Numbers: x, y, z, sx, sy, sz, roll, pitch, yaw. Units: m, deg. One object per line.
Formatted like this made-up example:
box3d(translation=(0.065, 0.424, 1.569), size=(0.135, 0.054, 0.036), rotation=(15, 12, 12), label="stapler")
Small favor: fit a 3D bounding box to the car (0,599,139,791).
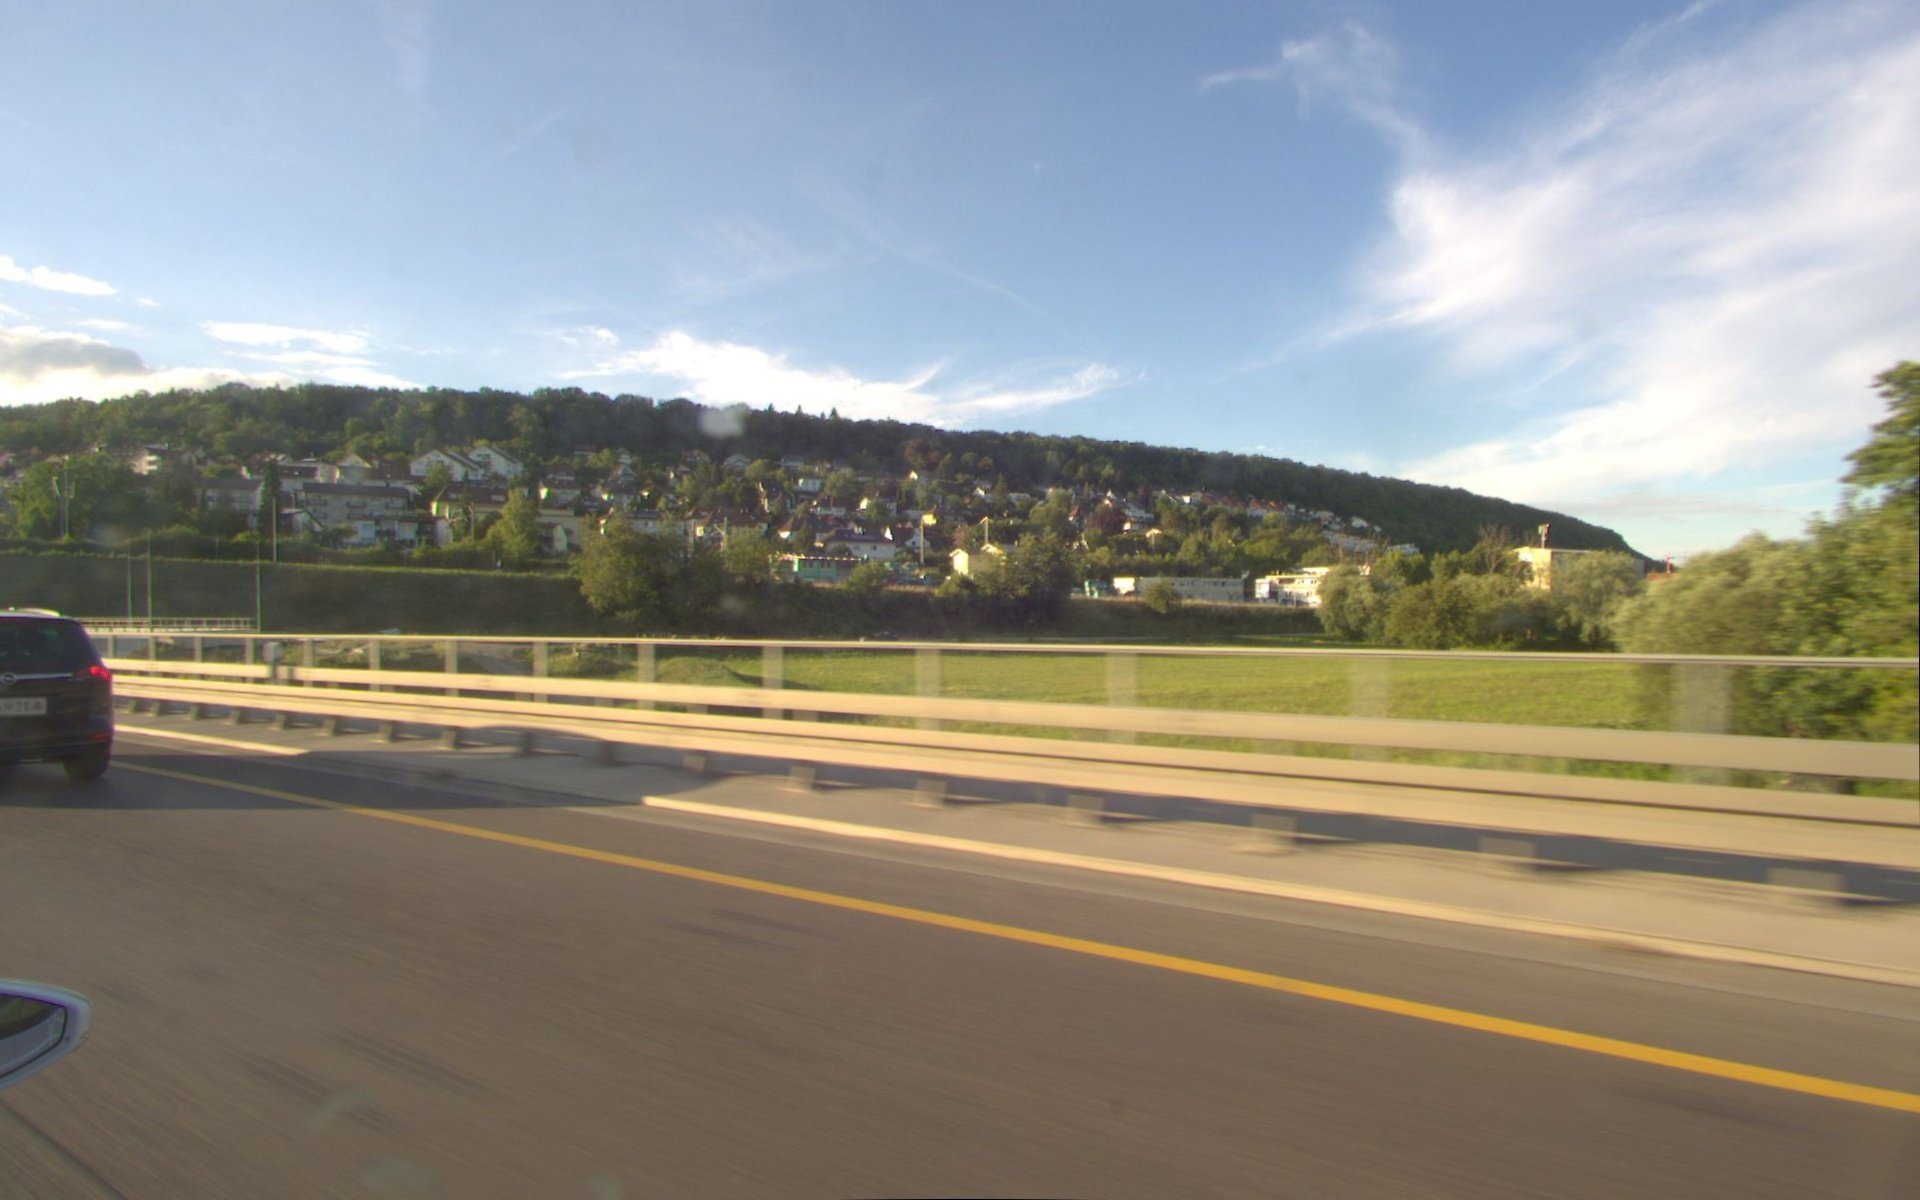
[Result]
box3d(translation=(-10.082, 0.843, 9.870), size=(4.348, 1.653, 1.811), rotation=(-1, -2, 33), label="car")
